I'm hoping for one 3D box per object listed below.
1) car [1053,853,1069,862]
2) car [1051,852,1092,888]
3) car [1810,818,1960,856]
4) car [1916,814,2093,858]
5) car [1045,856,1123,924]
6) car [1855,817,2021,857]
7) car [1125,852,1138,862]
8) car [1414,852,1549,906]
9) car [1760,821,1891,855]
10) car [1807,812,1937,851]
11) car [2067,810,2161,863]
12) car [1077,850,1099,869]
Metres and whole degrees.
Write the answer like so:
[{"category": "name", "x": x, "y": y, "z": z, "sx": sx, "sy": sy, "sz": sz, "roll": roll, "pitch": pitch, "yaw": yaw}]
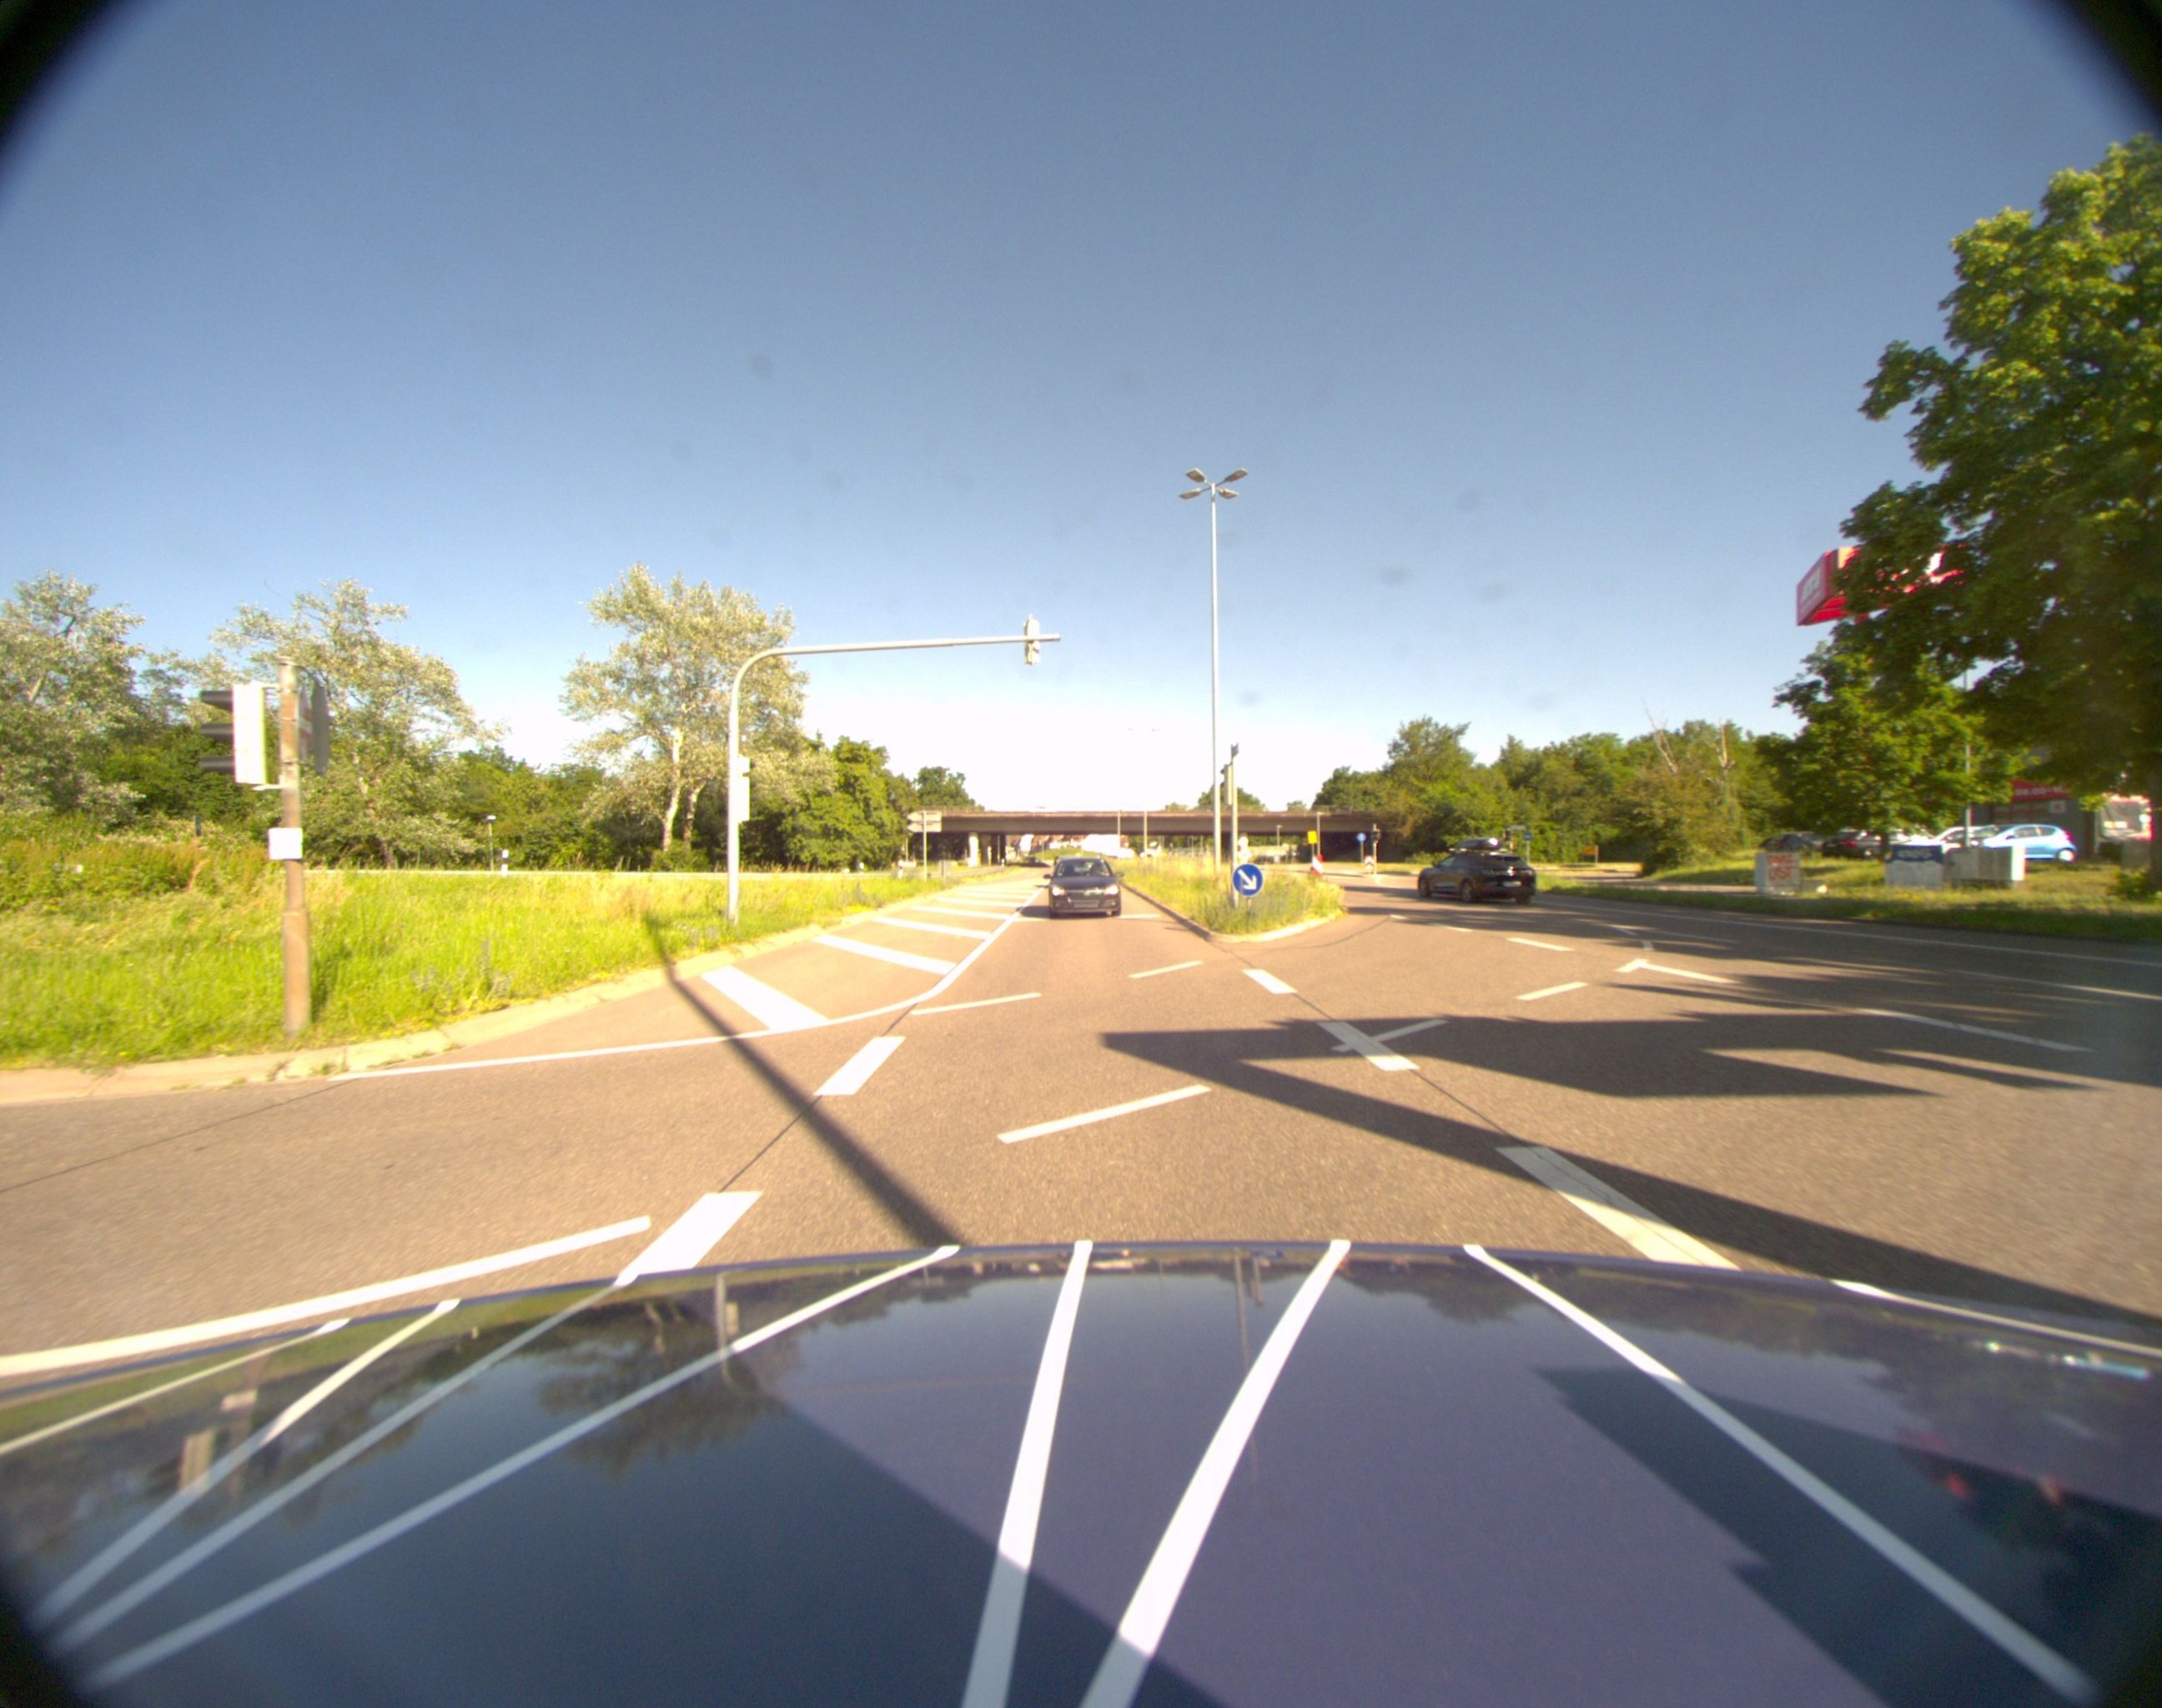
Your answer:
[{"category": "car", "x": -3.457, "y": 0.592, "z": 128.603, "sx": 1.829, "sy": 1.528, "sz": 4.036, "roll": 0, "pitch": 0, "yaw": -16}, {"category": "car", "x": -0.415, "y": 0.721, "z": 36.398, "sx": 1.827, "sy": 1.528, "sz": 4.041, "roll": -1, "pitch": 1, "yaw": 0}, {"category": "car", "x": 34.869, "y": -0.708, "z": 33.076, "sx": 4.124, "sy": 1.542, "sz": 1.897, "roll": 0, "pitch": 0, "yaw": 12}, {"category": "car", "x": 34.260, "y": -0.643, "z": 28.290, "sx": 4.127, "sy": 1.542, "sz": 1.819, "roll": 0, "pitch": 0, "yaw": 5}, {"category": "car", "x": 0.148, "y": 0.819, "z": 19.260, "sx": 1.706, "sy": 1.447, "sz": 3.959, "roll": -3, "pitch": 0, "yaw": 2}, {"category": "car", "x": 34.444, "y": -0.658, "z": 30.666, "sx": 4.125, "sy": 1.542, "sz": 1.897, "roll": 0, "pitch": 0, "yaw": 11}, {"category": "car", "x": 7.592, "y": 0.453, "z": 113.488, "sx": 1.637, "sy": 1.436, "sz": 4.103, "roll": -1, "pitch": 0, "yaw": 0}, {"category": "car", "x": 12.616, "y": 0.723, "z": 24.309, "sx": 1.881, "sy": 1.534, "sz": 4.572, "roll": 1, "pitch": 0, "yaw": 0}, {"category": "car", "x": 35.945, "y": -0.761, "z": 36.825, "sx": 4.122, "sy": 1.542, "sz": 1.898, "roll": 0, "pitch": 0, "yaw": 22}, {"category": "car", "x": 46.479, "y": -1.257, "z": 44.763, "sx": 1.899, "sy": 2.139, "sz": 5.034, "roll": -1, "pitch": 0, "yaw": -32}, {"category": "car", "x": 33.251, "y": -0.526, "z": 22.991, "sx": 4.127, "sy": 1.542, "sz": 1.947, "roll": 0, "pitch": 0, "yaw": 3}, {"category": "car", "x": 0.558, "y": 0.419, "z": 63.885, "sx": 1.827, "sy": 1.528, "sz": 4.042, "roll": -1, "pitch": 0, "yaw": 0}]
